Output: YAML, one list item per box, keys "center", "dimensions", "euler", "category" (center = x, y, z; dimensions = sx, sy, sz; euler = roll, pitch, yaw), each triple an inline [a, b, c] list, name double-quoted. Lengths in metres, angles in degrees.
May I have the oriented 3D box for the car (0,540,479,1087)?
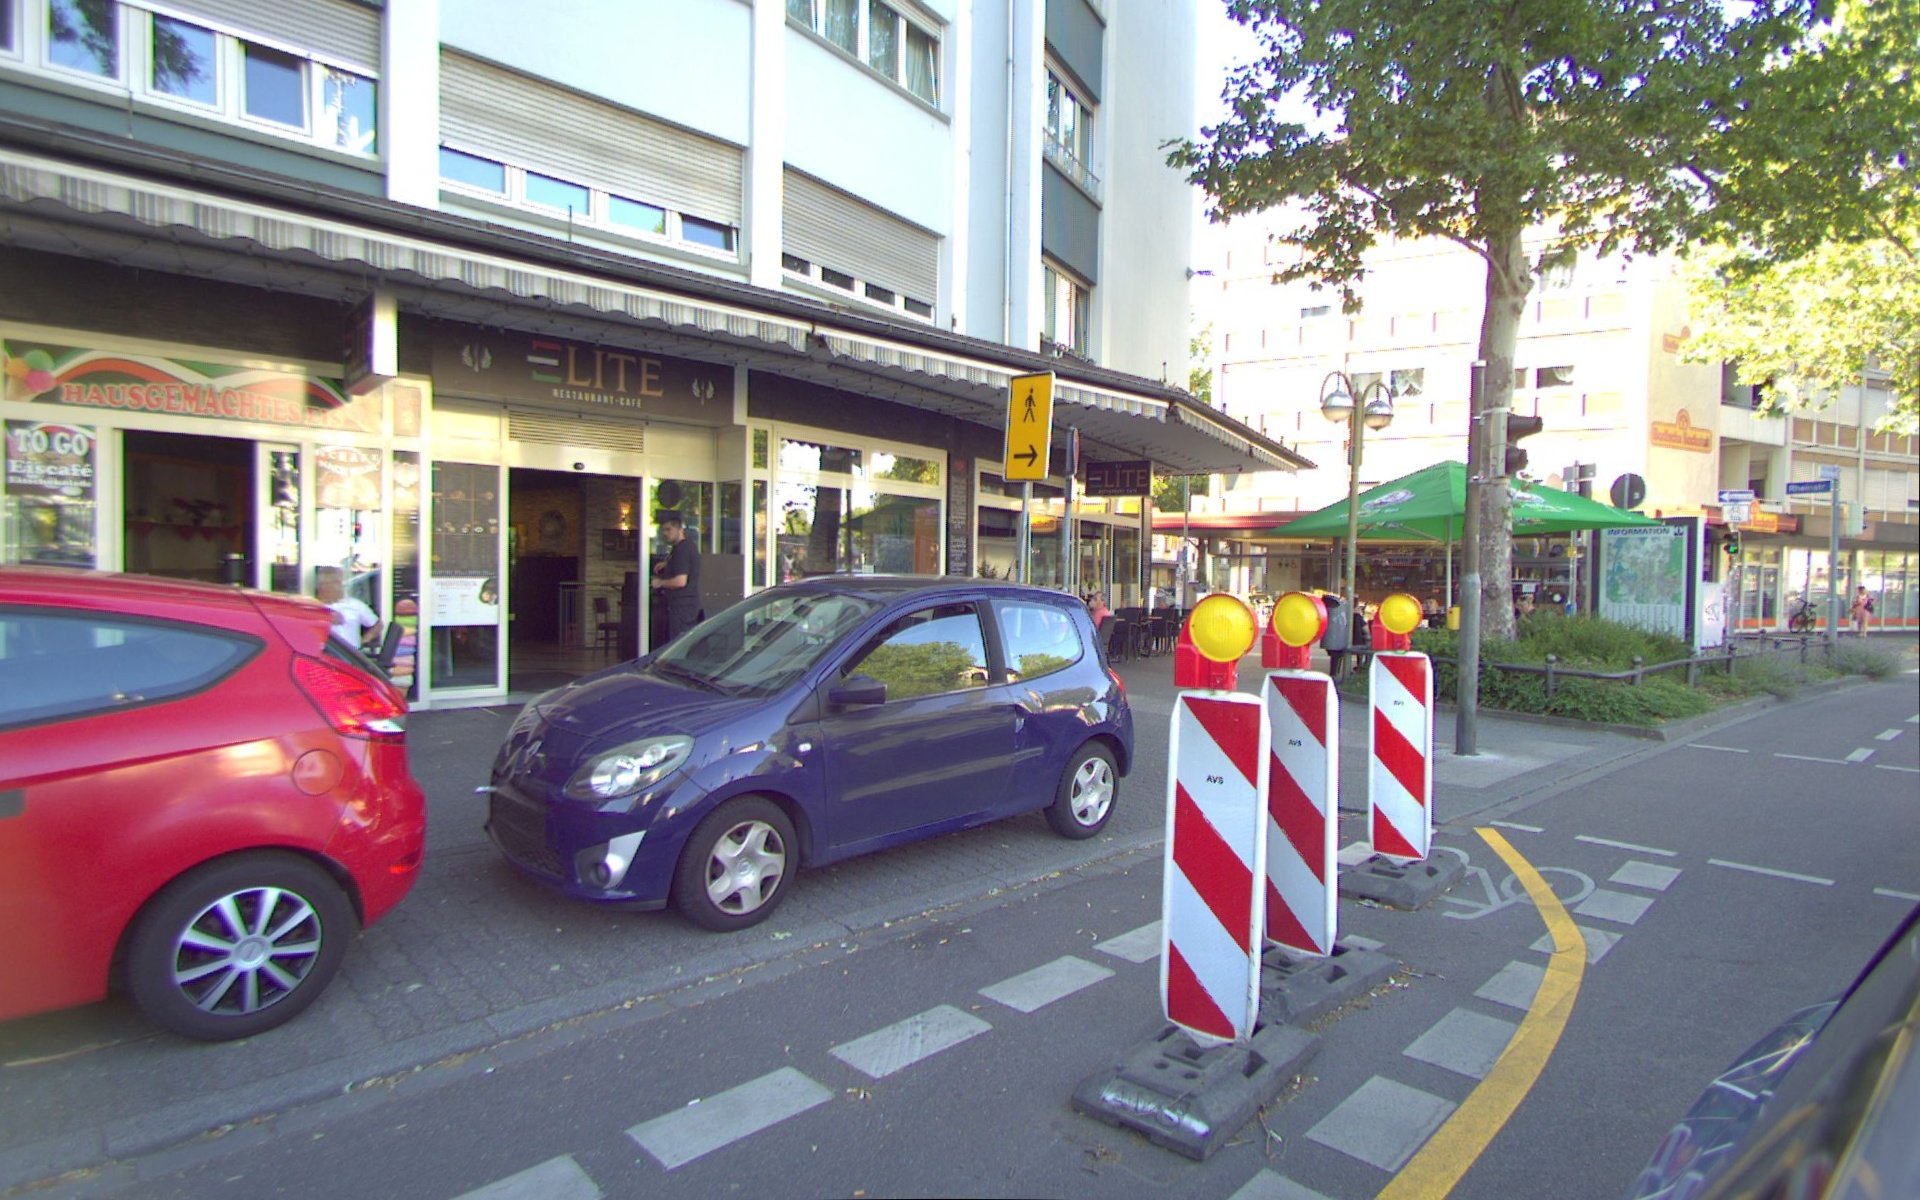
- center: [-3.632, 0.553, 2.840]
  dimensions: [1.667, 1.446, 3.786]
  euler: [5, 4, 44]
  category: "car"

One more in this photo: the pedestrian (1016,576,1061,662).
- center: [1.177, 0.273, 15.266]
  dimensions: [0.541, 1.259, 0.521]
  euler: [2, 1, -7]
  category: "pedestrian"

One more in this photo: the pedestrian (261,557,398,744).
- center: [-4.812, 0.326, 7.700]
  dimensions: [0.765, 1.247, 1.206]
  euler: [-1, 5, -38]
  category: "pedestrian"

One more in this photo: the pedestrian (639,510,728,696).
- center: [-2.712, 0.013, 9.924]
  dimensions: [0.579, 1.756, 0.596]
  euler: [1, 3, -43]
  category: "pedestrian"

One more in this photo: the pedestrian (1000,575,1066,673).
- center: [1.003, 0.311, 13.740]
  dimensions: [0.644, 1.267, 0.711]
  euler: [3, 1, 25]
  category: "pedestrian"

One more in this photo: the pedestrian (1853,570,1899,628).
- center: [28.667, -0.038, 31.673]
  dimensions: [0.883, 1.779, 0.751]
  euler: [0, 1, -24]
  category: "pedestrian"

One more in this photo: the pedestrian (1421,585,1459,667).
- center: [7.468, 0.395, 15.758]
  dimensions: [0.427, 1.234, 0.465]
  euler: [2, 2, 20]
  category: "pedestrian"

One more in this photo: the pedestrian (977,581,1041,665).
- center: [0.715, 0.320, 14.644]
  dimensions: [0.710, 1.144, 0.645]
  euler: [3, 1, 25]
  category: "pedestrian"

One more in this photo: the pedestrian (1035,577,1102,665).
- center: [1.599, 0.294, 14.906]
  dimensions: [0.664, 1.233, 0.706]
  euler: [3, 1, 43]
  category: "pedestrian"

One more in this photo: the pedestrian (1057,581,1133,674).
- center: [1.868, 0.361, 14.015]
  dimensions: [0.838, 1.213, 0.644]
  euler: [3, 1, 27]
  category: "pedestrian"

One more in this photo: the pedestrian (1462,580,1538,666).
- center: [8.430, 0.345, 15.809]
  dimensions: [0.752, 1.301, 0.721]
  euler: [0, 1, -27]
  category: "pedestrian"

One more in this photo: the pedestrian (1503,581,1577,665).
- center: [9.281, 0.352, 16.211]
  dimensions: [0.753, 1.301, 0.720]
  euler: [0, 1, -28]
  category: "pedestrian"

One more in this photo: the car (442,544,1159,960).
- center: [-0.651, 0.514, 5.506]
  dimensions: [3.545, 1.484, 1.621]
  euler: [-1, 4, -44]
  category: "car"

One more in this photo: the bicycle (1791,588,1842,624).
- center: [28.138, 0.200, 33.240]
  dimensions: [1.933, 1.157, 0.530]
  euler: [0, 1, -26]
  category: "bicycle"

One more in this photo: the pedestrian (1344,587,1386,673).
- center: [5.955, 0.432, 14.902]
  dimensions: [0.460, 1.235, 0.432]
  euler: [0, 0, 5]
  category: "pedestrian"
